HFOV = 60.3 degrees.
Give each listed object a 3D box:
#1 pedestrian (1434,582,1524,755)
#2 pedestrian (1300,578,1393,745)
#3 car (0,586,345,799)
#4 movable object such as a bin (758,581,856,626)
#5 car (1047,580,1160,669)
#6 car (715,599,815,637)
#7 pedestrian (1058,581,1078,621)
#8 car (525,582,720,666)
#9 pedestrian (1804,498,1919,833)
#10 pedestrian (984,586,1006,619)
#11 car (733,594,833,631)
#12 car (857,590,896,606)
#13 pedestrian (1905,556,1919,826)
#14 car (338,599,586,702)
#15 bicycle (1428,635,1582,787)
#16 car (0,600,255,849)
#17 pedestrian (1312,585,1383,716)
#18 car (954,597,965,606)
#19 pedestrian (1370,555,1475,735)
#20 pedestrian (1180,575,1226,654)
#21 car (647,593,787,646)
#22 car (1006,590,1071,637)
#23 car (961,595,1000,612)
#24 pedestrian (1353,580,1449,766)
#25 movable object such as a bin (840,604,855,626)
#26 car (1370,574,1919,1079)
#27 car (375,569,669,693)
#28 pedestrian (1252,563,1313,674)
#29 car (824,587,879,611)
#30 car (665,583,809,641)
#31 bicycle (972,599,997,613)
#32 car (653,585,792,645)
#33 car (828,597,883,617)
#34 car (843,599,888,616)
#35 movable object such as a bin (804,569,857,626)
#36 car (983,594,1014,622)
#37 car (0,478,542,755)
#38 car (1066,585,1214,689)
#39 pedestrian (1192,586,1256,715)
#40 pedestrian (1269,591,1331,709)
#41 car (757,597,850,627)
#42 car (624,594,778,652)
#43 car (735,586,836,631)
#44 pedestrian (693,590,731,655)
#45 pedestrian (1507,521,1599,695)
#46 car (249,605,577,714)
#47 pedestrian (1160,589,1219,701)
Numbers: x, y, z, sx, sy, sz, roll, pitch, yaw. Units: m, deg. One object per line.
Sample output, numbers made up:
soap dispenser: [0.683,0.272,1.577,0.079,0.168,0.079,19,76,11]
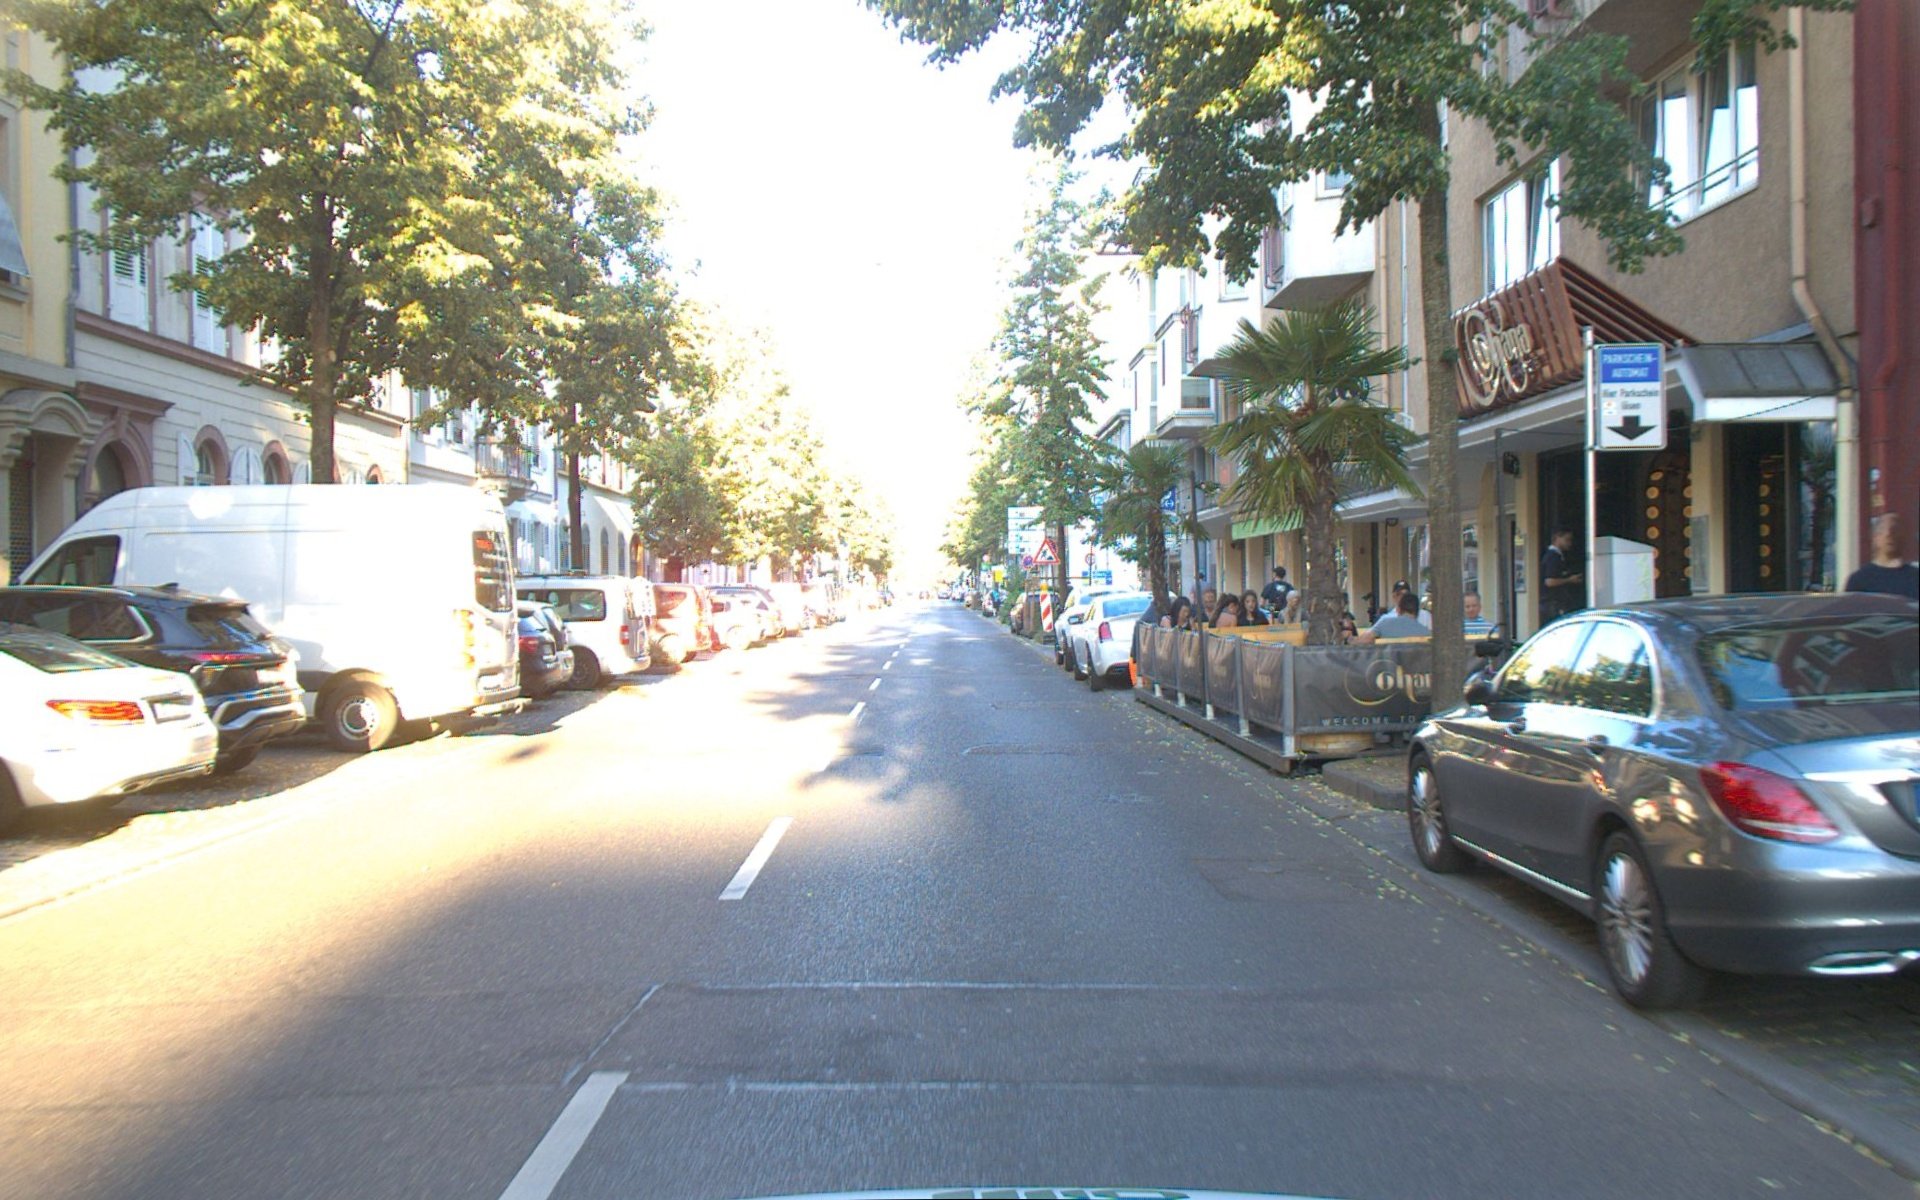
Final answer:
pedestrian: [4.258,0.552,13.591,0.536,1.368,0.438,-3,0,-1]
pedestrian: [3.644,0.564,15.646,0.618,1.511,0.795,-3,0,-1]
car: [-7.585,0.704,13.807,4.126,1.628,1.975,1,0,0]
movable object such as a bin: [-8.886,0.197,96.681,2.273,2.539,5.720,-1,0,42]
car: [2.893,0.464,34.301,1.841,1.601,4.691,-3,0,0]
car: [-8.031,0.718,68.277,3.841,1.527,1.905,0,0,1]
pedestrian: [5.322,0.047,81.410,0.806,1.886,1.097,-3,0,-2]
car: [-7.721,0.535,38.092,4.053,1.838,1.807,-1,0,1]
pedestrian: [4.989,0.326,8.795,0.611,1.706,0.640,-2,0,0]
pedestrian: [2.008,0.157,94.700,0.995,1.857,0.778,-3,0,-11]
car: [-7.614,0.528,71.326,4.242,1.527,1.840,0,0,-6]
car: [-9.398,-0.195,186.521,4.351,1.790,1.919,0,0,0]
pedestrian: [5.657,0.499,8.993,0.611,1.514,0.640,-2,0,0]
car: [-7.533,0.754,25.264,3.303,1.492,1.711,1,0,-5]
bicycle: [3.983,0.776,12.211,0.378,1.001,1.709,-1,0,-7]
car: [-7.242,0.768,11.208,4.127,1.532,1.792,1,0,-1]
pedestrian: [4.339,0.557,18.548,0.565,1.409,0.718,-3,0,-1]
car: [-0.039,0.202,236.465,1.482,1.298,3.303,0,-1,0]
pedestrian: [4.379,0.414,15.711,0.693,1.626,0.795,-3,0,-1]
pedestrian: [5.737,0.334,39.146,0.839,1.826,0.996,-2,0,-4]
car: [-7.345,0.573,50.191,3.955,1.509,1.962,-1,0,-1]
car: [2.758,0.473,59.072,1.792,1.514,4.847,-3,0,-3]
car: [1.992,0.328,156.998,1.645,1.616,3.801,0,0,42]
pedestrian: [3.667,0.595,13.793,0.565,1.488,0.603,-3,0,-1]
movable object such as a bin: [-5.865,0.767,85.957,0.675,1.124,0.883,-2,0,1]
car: [3.352,0.668,7.540,1.738,1.465,5.000,-3,0,1]
car: [-7.312,0.500,27.903,4.407,1.987,1.919,0,0,1]
pedestrian: [5.163,0.290,26.532,0.772,1.734,0.700,-2,0,-1]
car: [-9.077,-0.085,138.259,4.478,1.996,1.990,0,0,-1]
car: [-7.767,0.405,57.954,4.771,1.941,1.973,-1,0,-1]
bicycle: [1.956,0.508,132.268,1.918,1.092,0.704,-1,0,31]
car: [-7.893,0.477,55.291,4.338,1.903,1.894,-1,0,0]
car: [-8.893,0.574,141.052,4.478,1.727,2.060,0,0,0]
car: [-9.302,0.738,162.616,4.351,1.595,1.919,0,0,0]
movable object such as a bin: [-7.182,-0.127,91.991,2.571,3.021,5.302,-1,0,-1]
car: [2.308,0.466,100.607,1.653,1.602,4.012,-3,0,-1]
car: [-7.424,0.159,17.278,5.543,2.667,2.171,1,0,-1]
car: [2.950,0.568,28.164,1.804,1.506,5.189,-3,0,-1]
pedestrian: [2.993,0.567,18.769,0.565,1.409,0.603,-3,0,-1]
pedestrian: [4.183,0.608,20.370,0.565,1.409,0.603,-3,0,-1]
car: [-7.930,0.620,83.901,4.498,1.495,1.893,0,0,2]
car: [-7.050,0.616,45.293,3.978,1.487,1.684,-1,0,-3]
car: [-7.937,0.368,75.469,4.392,2.010,2.068,0,0,0]
pedestrian: [-6.500,0.576,43.378,0.810,1.667,0.827,-1,0,0]
pedestrian: [6.746,0.074,18.859,0.782,1.916,0.879,-2,1,8]
car: [-7.381,0.794,22.619,3.907,1.429,1.749,0,-1,-3]
pedestrian: [2.829,0.546,20.461,0.565,1.342,0.704,-3,0,-1]
